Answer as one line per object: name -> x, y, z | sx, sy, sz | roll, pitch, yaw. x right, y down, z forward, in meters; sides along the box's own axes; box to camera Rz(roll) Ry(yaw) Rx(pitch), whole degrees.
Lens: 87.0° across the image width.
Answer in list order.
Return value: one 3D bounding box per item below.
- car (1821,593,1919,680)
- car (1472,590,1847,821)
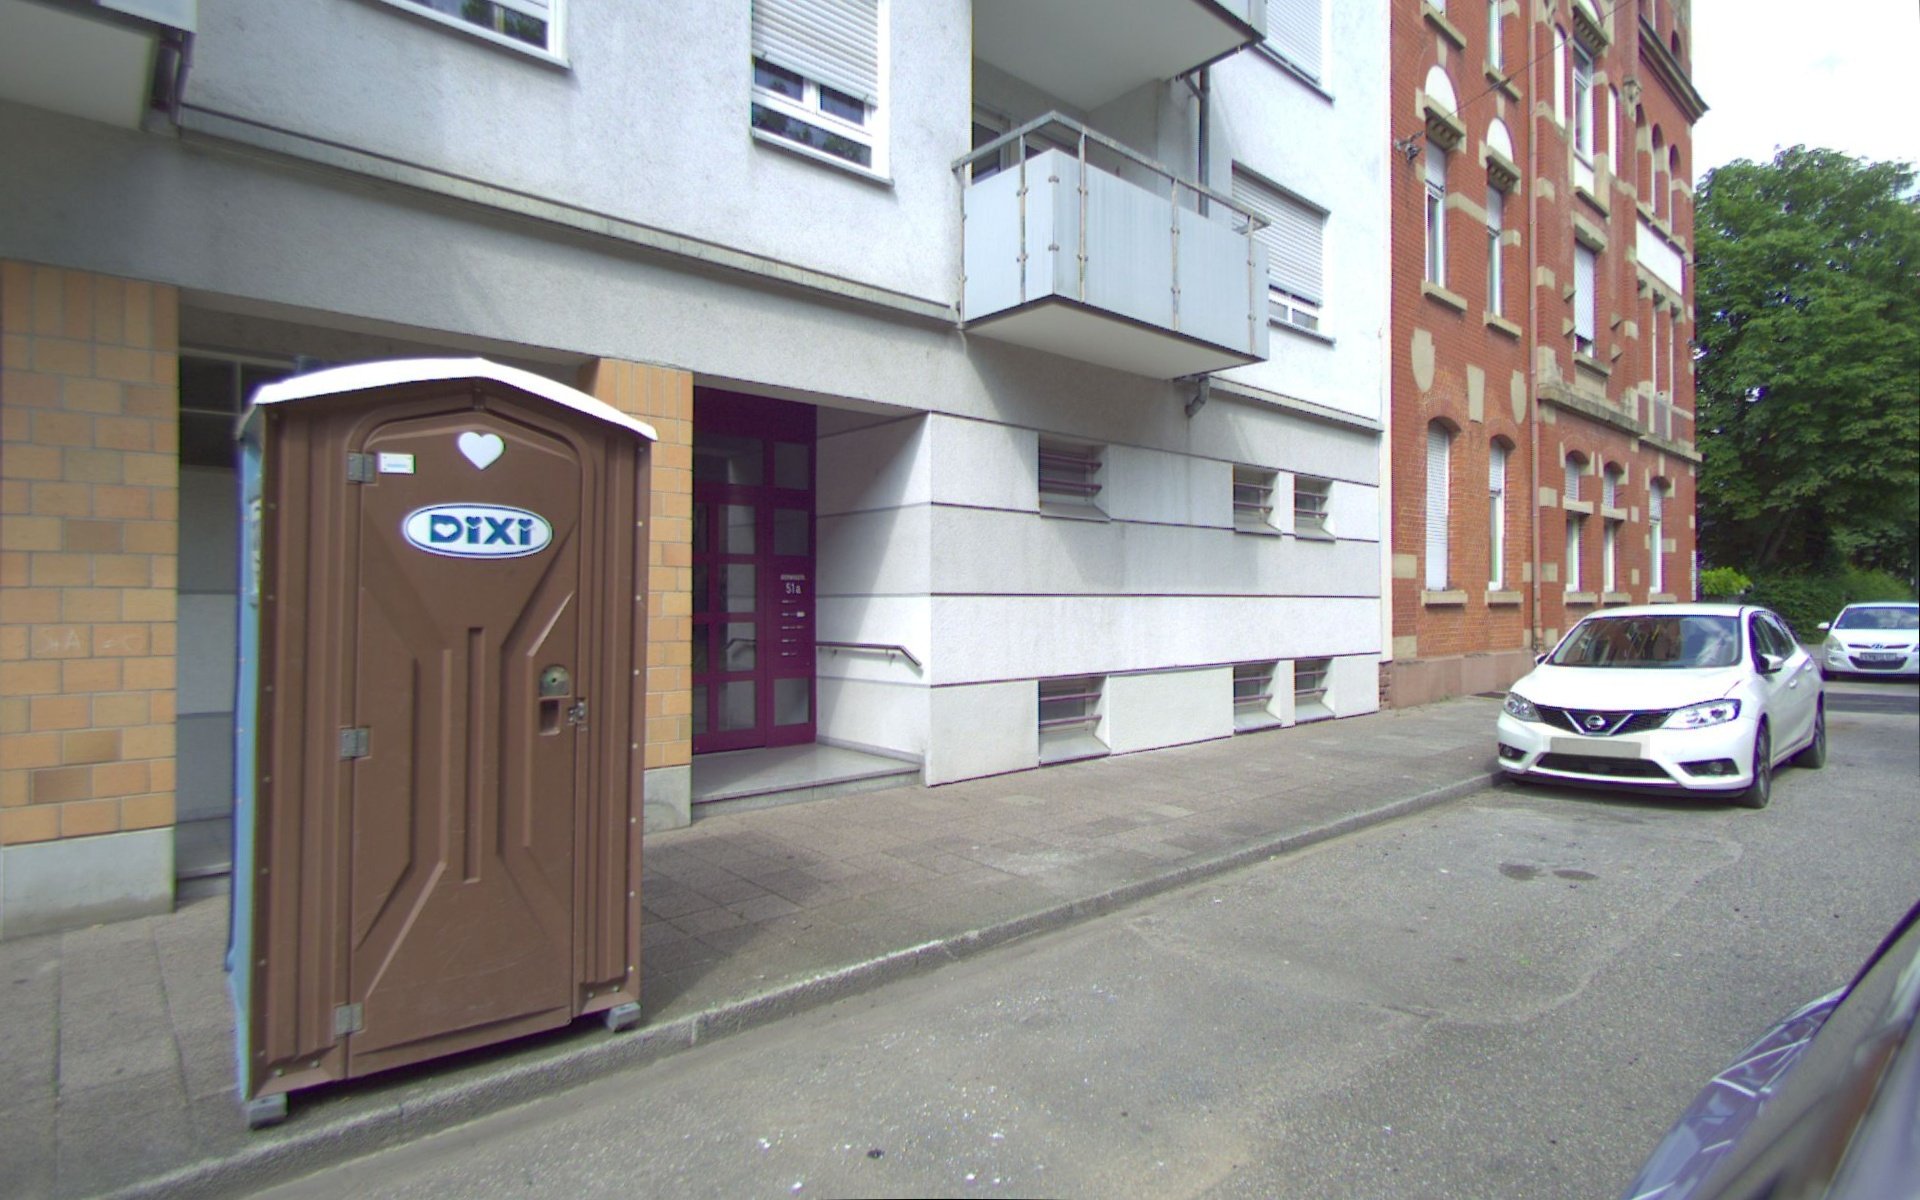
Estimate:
car -> 18.157, 0.646, 19.529 | 3.971, 1.549, 1.799 | 0, -1, -42
car -> 6.198, 0.717, 8.794 | 3.971, 1.549, 1.799 | 0, -1, -42
